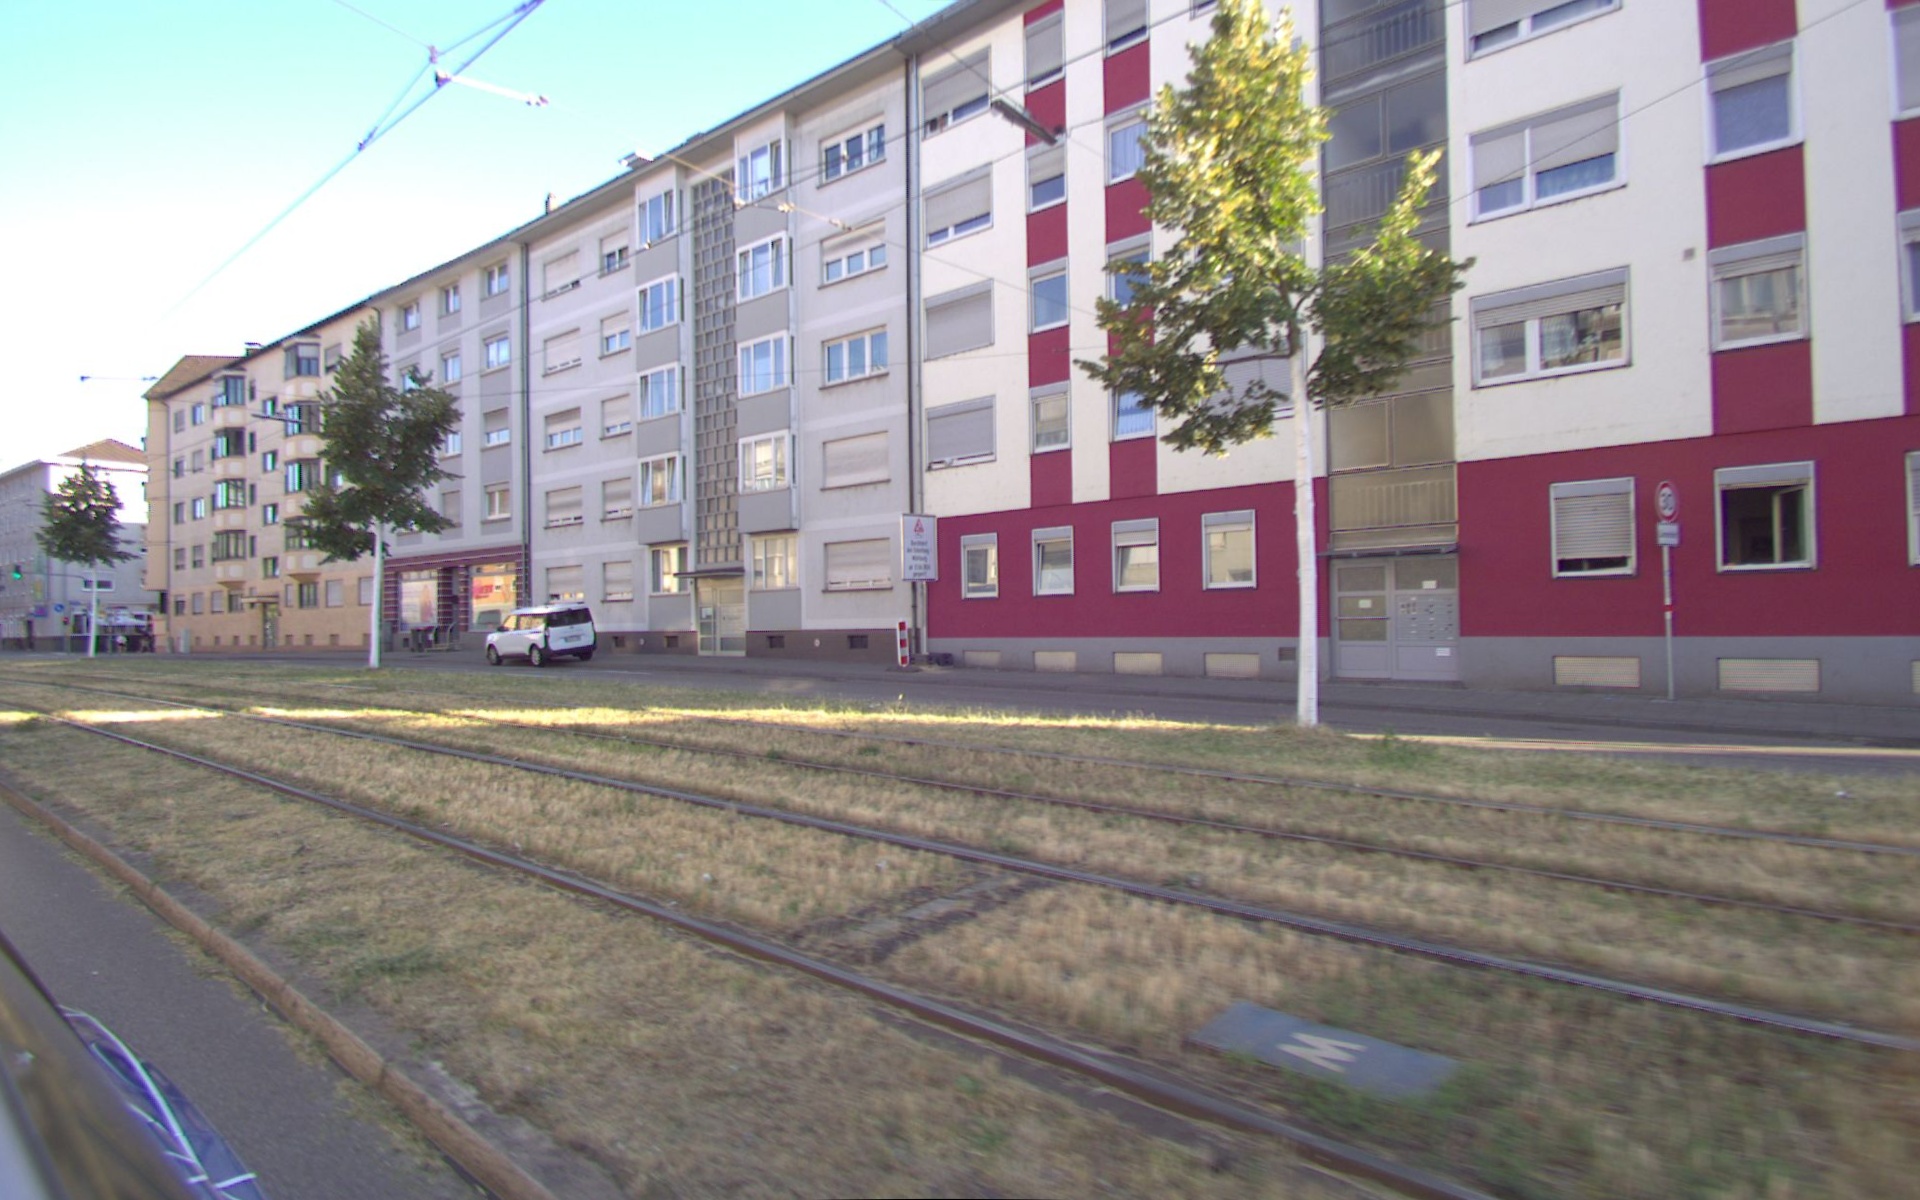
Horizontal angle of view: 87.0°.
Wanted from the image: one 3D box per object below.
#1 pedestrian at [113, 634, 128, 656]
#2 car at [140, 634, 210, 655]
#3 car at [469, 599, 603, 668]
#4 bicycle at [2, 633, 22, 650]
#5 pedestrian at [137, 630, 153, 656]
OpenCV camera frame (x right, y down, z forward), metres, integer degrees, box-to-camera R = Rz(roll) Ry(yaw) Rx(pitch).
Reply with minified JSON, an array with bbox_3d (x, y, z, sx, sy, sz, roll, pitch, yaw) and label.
[{"bbox_3d":[-57.381,3.090,69.175,0.581,1.501,0.617,-1,-1,35],"label":"pedestrian"},{"bbox_3d":[-61.805,3.499,79.731,1.993,1.519,3.957,-2,-1,32],"label":"car"},{"bbox_3d":[-13.446,1.045,31.998,4.415,1.842,1.850,-2,5,38],"label":"car"},{"bbox_3d":[-79.161,3.498,84.514,3.229,1.389,0.573,-2,-2,35],"label":"bicycle"},{"bbox_3d":[-55.920,2.936,69.453,0.624,1.784,0.827,0,-1,-24],"label":"pedestrian"}]
